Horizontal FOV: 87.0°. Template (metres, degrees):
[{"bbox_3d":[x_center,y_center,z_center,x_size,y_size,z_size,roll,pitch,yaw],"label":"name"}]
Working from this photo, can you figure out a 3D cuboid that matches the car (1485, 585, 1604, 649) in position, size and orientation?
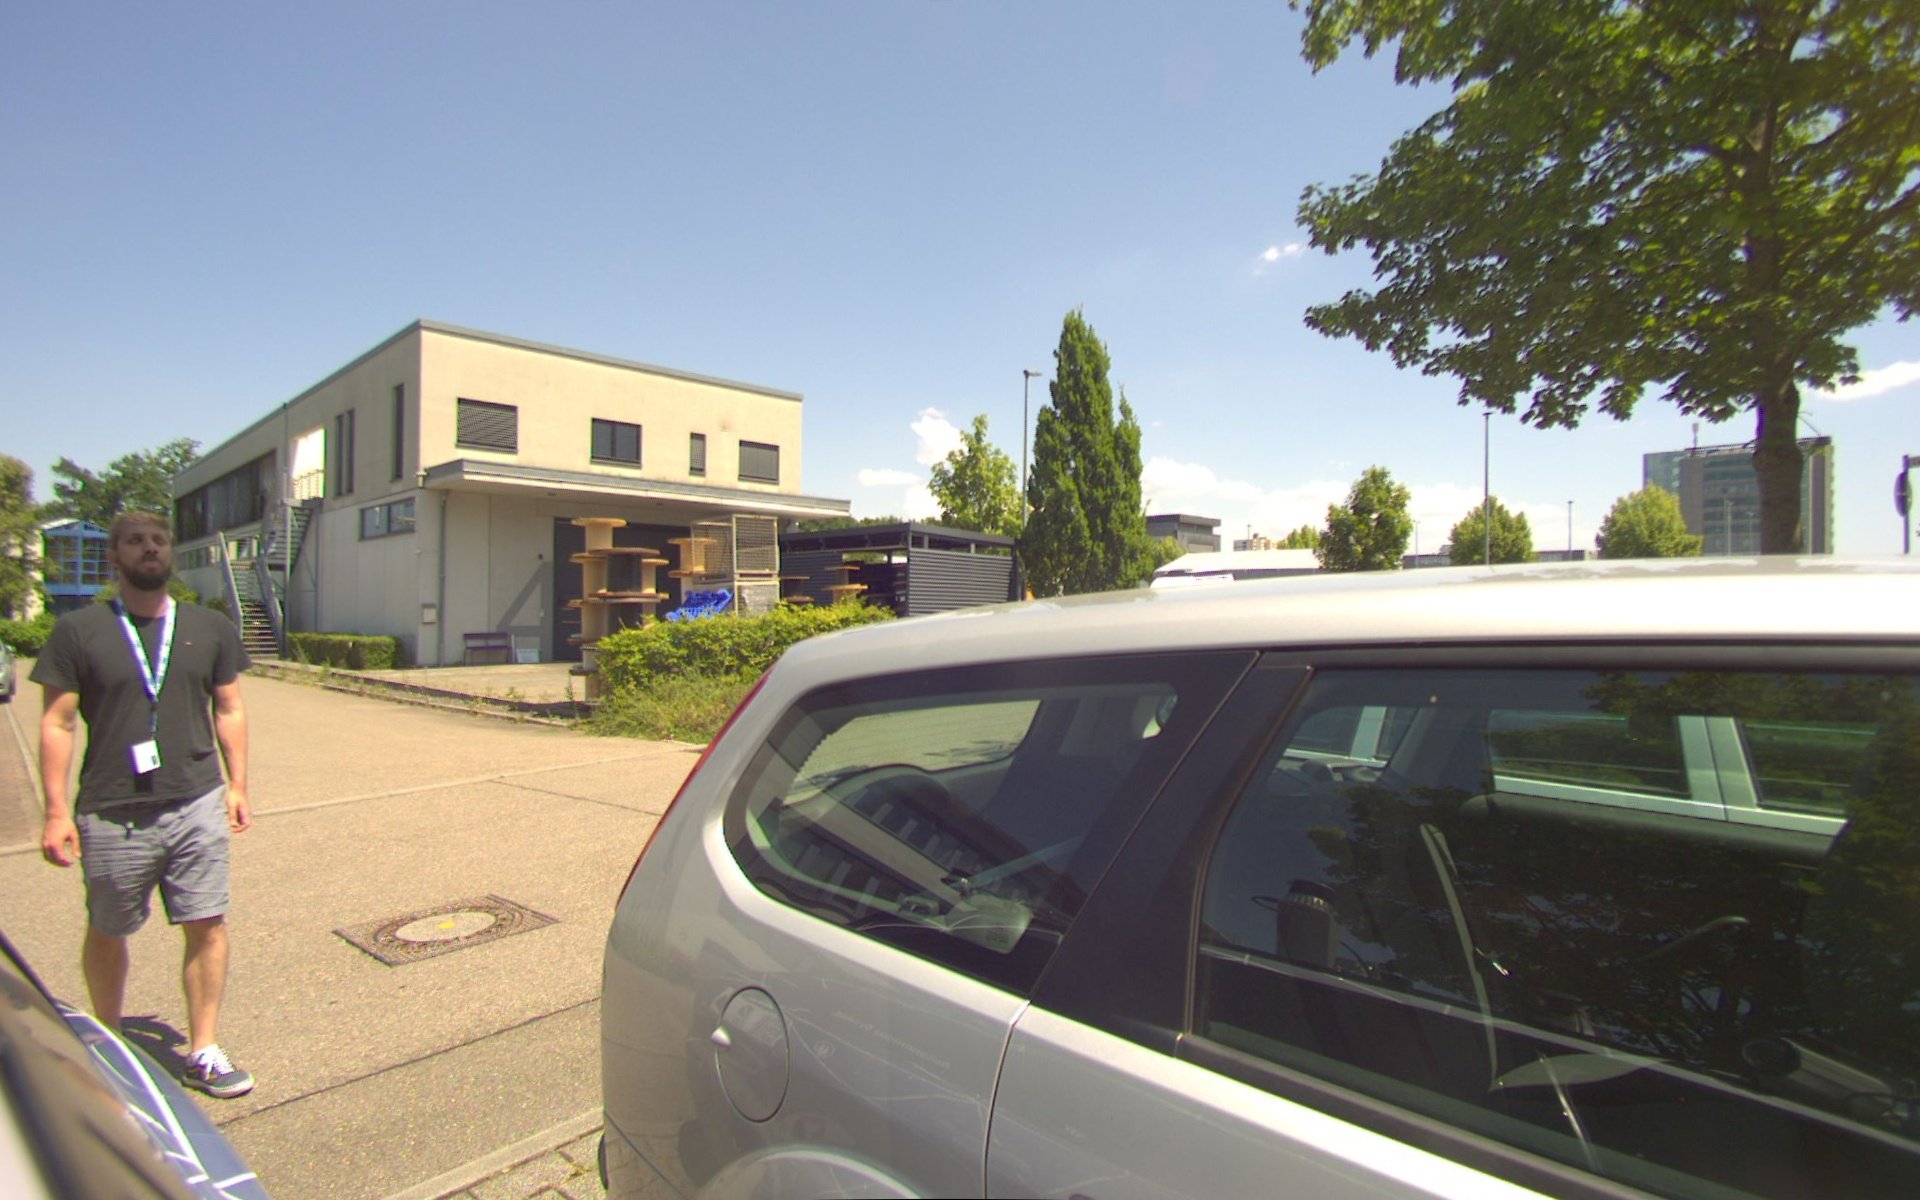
[{"bbox_3d":[17.317,0.461,29.928,3.937,1.751,1.775,-1,0,-40],"label":"car"}]

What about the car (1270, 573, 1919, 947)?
[{"bbox_3d":[3.730,0.633,5.000,3.886,1.459,1.632,-1,-1,38],"label":"car"}]

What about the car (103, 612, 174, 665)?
[{"bbox_3d":[-30.164,1.367,37.130,1.762,1.817,4.004,-1,0,-43],"label":"car"}]

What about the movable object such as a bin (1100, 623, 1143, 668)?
[{"bbox_3d":[3.679,1.030,23.058,0.581,0.977,0.761,-1,-1,-40],"label":"movable object such as a bin"}]

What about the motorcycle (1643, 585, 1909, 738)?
[{"bbox_3d":[8.008,0.583,10.048,1.986,1.400,0.478,-2,-1,37],"label":"motorcycle"}]

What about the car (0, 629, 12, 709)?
[{"bbox_3d":[-19.126,1.272,19.081,1.686,1.402,3.816,1,-1,-41],"label":"car"}]

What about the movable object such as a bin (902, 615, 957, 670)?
[{"bbox_3d":[-0.734,1.007,24.283,1.056,1.280,0.761,-1,-1,-40],"label":"movable object such as a bin"}]

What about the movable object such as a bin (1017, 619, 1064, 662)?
[{"bbox_3d":[2.131,1.047,26.695,0.972,1.092,0.761,-1,-1,-40],"label":"movable object such as a bin"}]

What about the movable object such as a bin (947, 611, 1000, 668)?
[{"bbox_3d":[0.342,0.958,25.064,1.056,1.346,0.761,-1,-1,-40],"label":"movable object such as a bin"}]

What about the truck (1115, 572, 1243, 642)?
[{"bbox_3d":[9.070,0.265,41.599,2.420,2.692,5.614,-2,-1,45],"label":"truck"}]

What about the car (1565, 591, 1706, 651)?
[{"bbox_3d":[18.518,0.539,27.720,3.932,1.533,1.658,-1,0,-31],"label":"car"}]

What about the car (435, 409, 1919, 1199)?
[{"bbox_3d":[1.320,0.636,0.941,4.345,1.490,1.702,-1,-1,40],"label":"car"}]

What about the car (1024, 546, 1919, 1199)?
[{"bbox_3d":[2.264,0.632,3.065,3.886,1.490,1.632,-1,-1,38],"label":"car"}]

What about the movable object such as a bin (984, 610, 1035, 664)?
[{"bbox_3d":[1.280,0.930,26.012,1.056,1.346,0.761,-1,-1,-40],"label":"movable object such as a bin"}]

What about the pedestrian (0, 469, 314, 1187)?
[{"bbox_3d":[-2.619,0.586,3.102,0.904,1.834,0.849,-2,-1,41],"label":"pedestrian"}]
